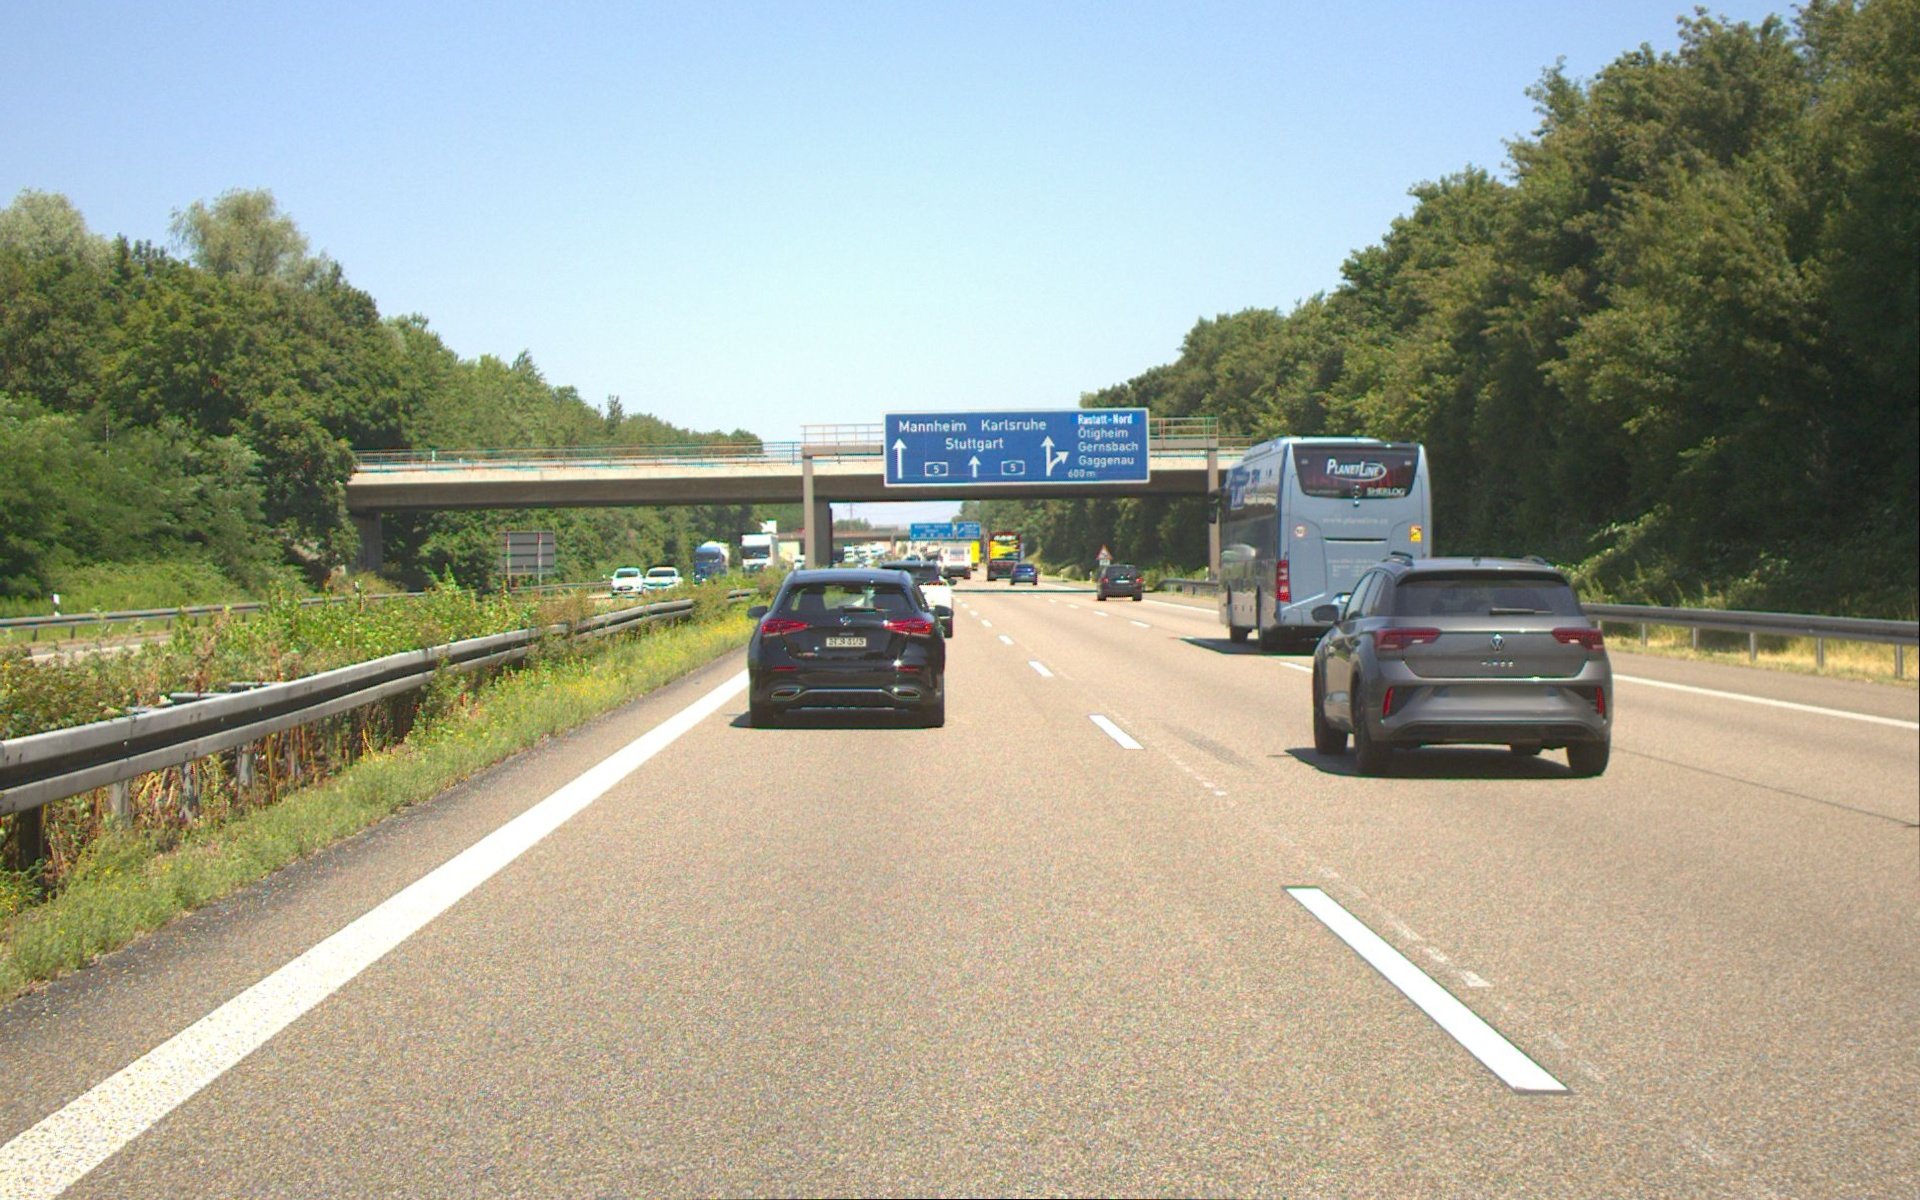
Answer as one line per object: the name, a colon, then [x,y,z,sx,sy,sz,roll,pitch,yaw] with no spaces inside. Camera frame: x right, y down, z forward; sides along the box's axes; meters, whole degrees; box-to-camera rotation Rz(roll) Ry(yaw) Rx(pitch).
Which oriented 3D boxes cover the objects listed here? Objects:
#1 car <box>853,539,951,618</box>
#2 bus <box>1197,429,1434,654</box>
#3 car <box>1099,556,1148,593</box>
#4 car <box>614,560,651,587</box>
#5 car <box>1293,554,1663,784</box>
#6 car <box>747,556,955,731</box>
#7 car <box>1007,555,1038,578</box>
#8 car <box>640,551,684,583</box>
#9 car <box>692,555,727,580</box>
car: [-1.201,-0.452,69.263,1.899,1.527,4.242,0,1,-2]
bus: [6.121,-1.009,61.266,2.802,3.584,12.475,0,1,-1]
car: [6.592,-1.028,138.727,1.789,1.456,3.949,1,1,0]
car: [-19.738,-1.587,207.532,1.899,1.588,4.743,-1,1,-2]
car: [3.733,0.436,25.636,1.899,1.527,4.760,0,1,-2]
car: [-1.014,0.349,32.118,1.799,1.497,4.242,0,1,-2]
car: [4.339,-2.309,237.771,2.081,1.527,4.241,1,1,0]
car: [-14.698,-1.657,169.868,1.807,1.478,4.417,-3,1,-1]
car: [-16.117,-2.095,221.288,1.899,1.527,5.033,-4,1,-2]
